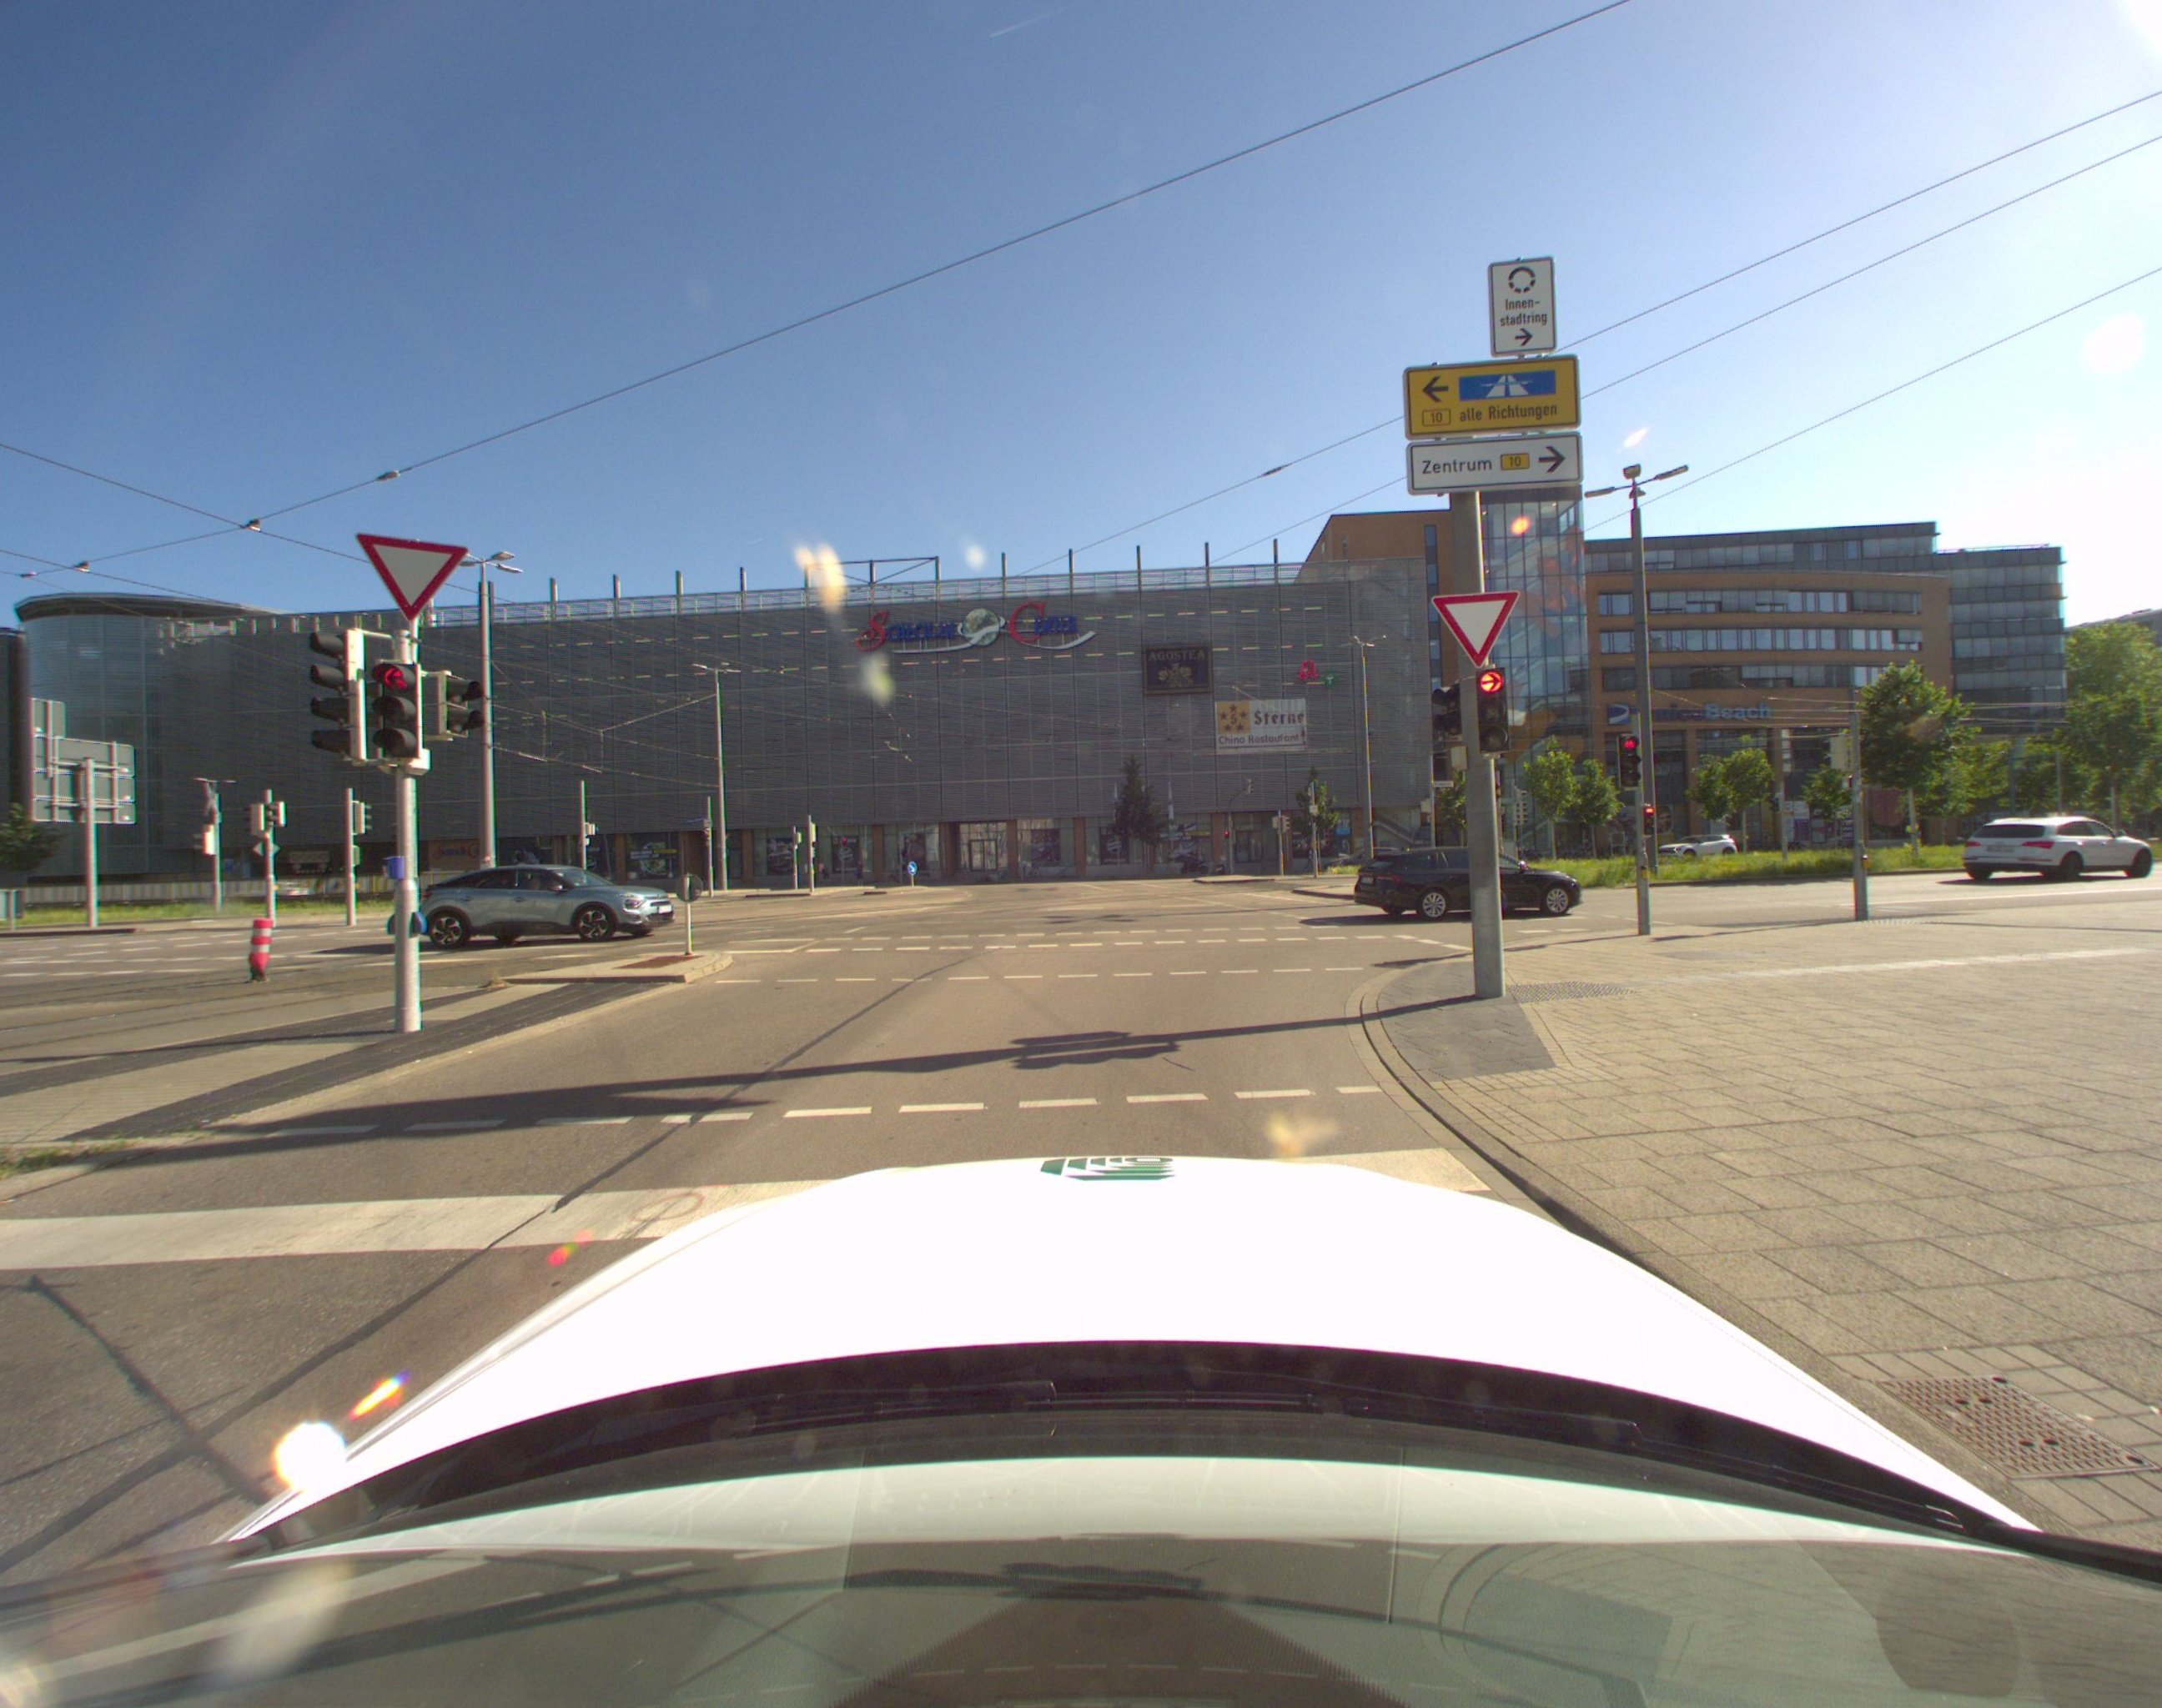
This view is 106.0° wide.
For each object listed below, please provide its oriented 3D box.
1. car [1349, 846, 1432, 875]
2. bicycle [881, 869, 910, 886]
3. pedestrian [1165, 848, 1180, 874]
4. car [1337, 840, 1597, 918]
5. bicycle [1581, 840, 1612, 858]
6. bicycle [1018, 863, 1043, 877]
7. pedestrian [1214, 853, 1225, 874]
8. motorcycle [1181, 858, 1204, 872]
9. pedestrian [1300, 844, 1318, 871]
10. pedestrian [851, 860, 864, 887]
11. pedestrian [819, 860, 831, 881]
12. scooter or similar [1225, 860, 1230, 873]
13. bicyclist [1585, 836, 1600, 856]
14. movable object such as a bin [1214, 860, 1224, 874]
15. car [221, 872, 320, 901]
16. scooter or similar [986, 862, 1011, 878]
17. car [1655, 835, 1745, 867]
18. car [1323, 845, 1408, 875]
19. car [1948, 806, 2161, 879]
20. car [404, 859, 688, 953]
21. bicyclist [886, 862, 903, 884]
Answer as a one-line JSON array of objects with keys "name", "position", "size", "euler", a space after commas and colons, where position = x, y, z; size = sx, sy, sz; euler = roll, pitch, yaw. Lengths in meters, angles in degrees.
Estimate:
[{"name": "car", "position": [18.572, 0.393, 48.990], "size": [4.274, 1.584, 1.841], "euler": [2, -1, 1]}, {"name": "bicycle", "position": [-12.590, 1.583, 55.303], "size": [0.562, 1.086, 1.874], "euler": [-1, 2, 45]}, {"name": "pedestrian", "position": [6.690, 0.524, 59.636], "size": [0.945, 1.829, 0.847], "euler": [-3, -4, 7]}, {"name": "car", "position": [7.977, 0.482, 17.048], "size": [4.663, 1.462, 1.829], "euler": [-1, 0, -7]}, {"name": "bicycle", "position": [37.135, -0.357, 58.639], "size": [1.850, 1.217, 0.569], "euler": [-2, 1, 1]}, {"name": "bicycle", "position": [-3.787, 1.171, 60.784], "size": [1.815, 0.989, 0.556], "euler": [-2, 1, -8]}, {"name": "pedestrian", "position": [9.400, 0.626, 55.197], "size": [0.650, 1.414, 0.853], "euler": [-1, -1, 12]}, {"name": "motorcycle", "position": [8.307, 0.826, 60.590], "size": [1.630, 1.004, 0.448], "euler": [0, 0, 8]}, {"name": "pedestrian", "position": [16.355, 0.241, 58.383], "size": [1.007, 1.828, 1.037], "euler": [-3, 0, 5]}, {"name": "pedestrian", "position": [-15.208, 1.308, 55.454], "size": [0.695, 1.797, 0.727], "euler": [-3, 0, -14]}, {"name": "pedestrian", "position": [-19.625, 1.235, 62.524], "size": [0.654, 1.601, 0.597], "euler": [-1, -1, 20]}, {"name": "scooter or similar", "position": [9.915, 0.865, 55.002], "size": [0.293, 0.873, 1.007], "euler": [-1, -1, 12]}, {"name": "bicyclist", "position": [36.827, -0.584, 58.625], "size": [0.750, 1.386, 0.566], "euler": [-2, 1, 1]}, {"name": "movable object such as a bin", "position": [9.266, 0.877, 54.734], "size": [0.608, 0.904, 0.972], "euler": [-1, -1, 12]}, {"name": "car", "position": [-50.954, 2.034, 51.260], "size": [4.274, 1.645, 1.841], "euler": [2, -1, 1]}, {"name": "scooter or similar", "position": [-6.190, 1.200, 61.225], "size": [1.790, 1.066, 0.611], "euler": [-2, 1, -6]}, {"name": "car", "position": [38.130, -0.194, 50.228], "size": [4.322, 1.863, 1.836], "euler": [-1, -1, -7]}, {"name": "car", "position": [15.878, 0.344, 45.615], "size": [4.132, 1.470, 1.841], "euler": [2, -1, 0]}, {"name": "car", "position": [26.007, -0.310, 21.756], "size": [4.677, 1.707, 1.927], "euler": [-2, 0, -15]}, {"name": "car", "position": [-10.194, 0.951, 15.758], "size": [4.252, 1.513, 1.708], "euler": [-3, 0, -1]}, {"name": "bicyclist", "position": [-12.634, 1.272, 55.230], "size": [0.667, 1.427, 0.855], "euler": [-1, 2, 45]}]
